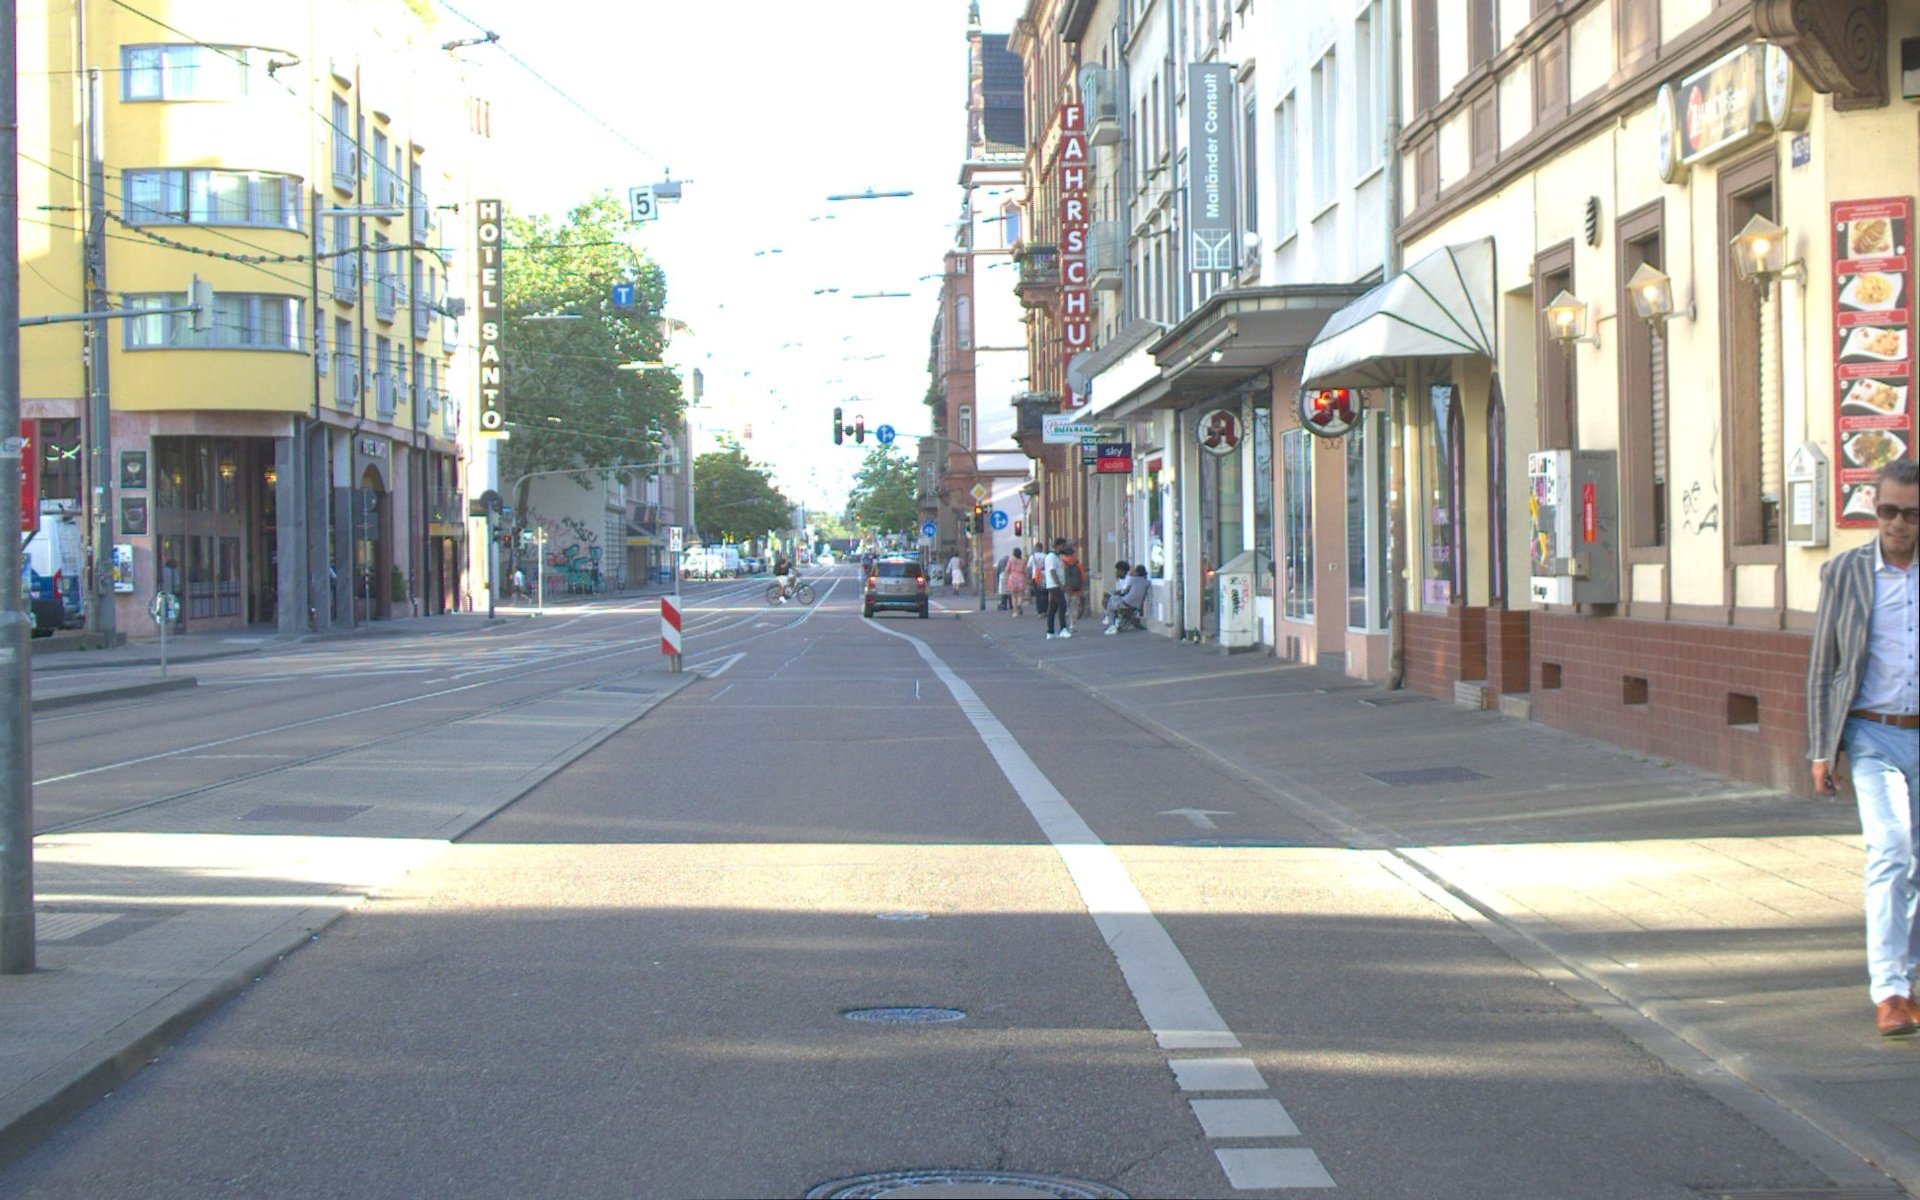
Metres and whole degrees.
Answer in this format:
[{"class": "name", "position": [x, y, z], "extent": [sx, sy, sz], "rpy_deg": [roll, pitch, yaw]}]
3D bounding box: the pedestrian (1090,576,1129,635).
[{"class": "pedestrian", "position": [2.678, 0.099, 61.499], "extent": [0.690, 1.040, 0.680], "rpy_deg": [0, 0, 3]}]

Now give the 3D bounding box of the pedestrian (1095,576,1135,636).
[{"class": "pedestrian", "position": [2.729, 0.098, 60.611], "extent": [0.690, 1.040, 0.680], "rpy_deg": [0, 0, 3]}]

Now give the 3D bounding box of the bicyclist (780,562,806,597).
[{"class": "bicyclist", "position": [-5.857, -0.724, 120.685], "extent": [0.710, 1.216, 0.753], "rpy_deg": [-1, 1, 17]}]

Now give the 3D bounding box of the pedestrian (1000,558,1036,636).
[{"class": "pedestrian", "position": [1.423, -0.087, 84.776], "extent": [0.843, 1.911, 0.662], "rpy_deg": [0, 0, -3]}]

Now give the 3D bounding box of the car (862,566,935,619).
[{"class": "car", "position": [-1.738, -0.219, 96.436], "extent": [1.993, 1.444, 4.000], "rpy_deg": [0, 0, -2]}]

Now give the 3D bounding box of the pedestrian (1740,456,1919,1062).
[{"class": "pedestrian", "position": [2.895, 0.448, 10.513], "extent": [0.713, 1.768, 0.773], "rpy_deg": [-3, 1, -4]}]

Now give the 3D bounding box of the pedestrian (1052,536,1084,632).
[{"class": "pedestrian", "position": [2.040, -0.298, 64.767], "extent": [0.560, 1.790, 0.650], "rpy_deg": [0, 0, 5]}]

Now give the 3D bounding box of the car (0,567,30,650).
[{"class": "car", "position": [-19.317, 0.136, 63.116], "extent": [3.987, 1.505, 1.800], "rpy_deg": [0, 0, 0]}]

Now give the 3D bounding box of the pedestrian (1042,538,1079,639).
[{"class": "pedestrian", "position": [1.796, -0.214, 61.425], "extent": [0.648, 1.790, 0.561], "rpy_deg": [0, 0, 3]}]

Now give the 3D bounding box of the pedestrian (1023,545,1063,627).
[{"class": "pedestrian", "position": [1.926, -0.333, 80.236], "extent": [0.848, 1.911, 1.035], "rpy_deg": [0, 0, -3]}]

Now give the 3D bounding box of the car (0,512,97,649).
[{"class": "car", "position": [-19.311, -0.382, 65.692], "extent": [5.105, 2.567, 2.128], "rpy_deg": [0, 0, 0]}]

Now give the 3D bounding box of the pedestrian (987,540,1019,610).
[{"class": "pedestrian", "position": [1.189, -0.691, 95.348], "extent": [0.843, 1.911, 0.847], "rpy_deg": [0, 0, -3]}]

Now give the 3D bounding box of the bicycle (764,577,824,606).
[{"class": "bicycle", "position": [-5.830, -0.294, 120.685], "extent": [1.935, 1.000, 0.753], "rpy_deg": [-1, 1, 17]}]
